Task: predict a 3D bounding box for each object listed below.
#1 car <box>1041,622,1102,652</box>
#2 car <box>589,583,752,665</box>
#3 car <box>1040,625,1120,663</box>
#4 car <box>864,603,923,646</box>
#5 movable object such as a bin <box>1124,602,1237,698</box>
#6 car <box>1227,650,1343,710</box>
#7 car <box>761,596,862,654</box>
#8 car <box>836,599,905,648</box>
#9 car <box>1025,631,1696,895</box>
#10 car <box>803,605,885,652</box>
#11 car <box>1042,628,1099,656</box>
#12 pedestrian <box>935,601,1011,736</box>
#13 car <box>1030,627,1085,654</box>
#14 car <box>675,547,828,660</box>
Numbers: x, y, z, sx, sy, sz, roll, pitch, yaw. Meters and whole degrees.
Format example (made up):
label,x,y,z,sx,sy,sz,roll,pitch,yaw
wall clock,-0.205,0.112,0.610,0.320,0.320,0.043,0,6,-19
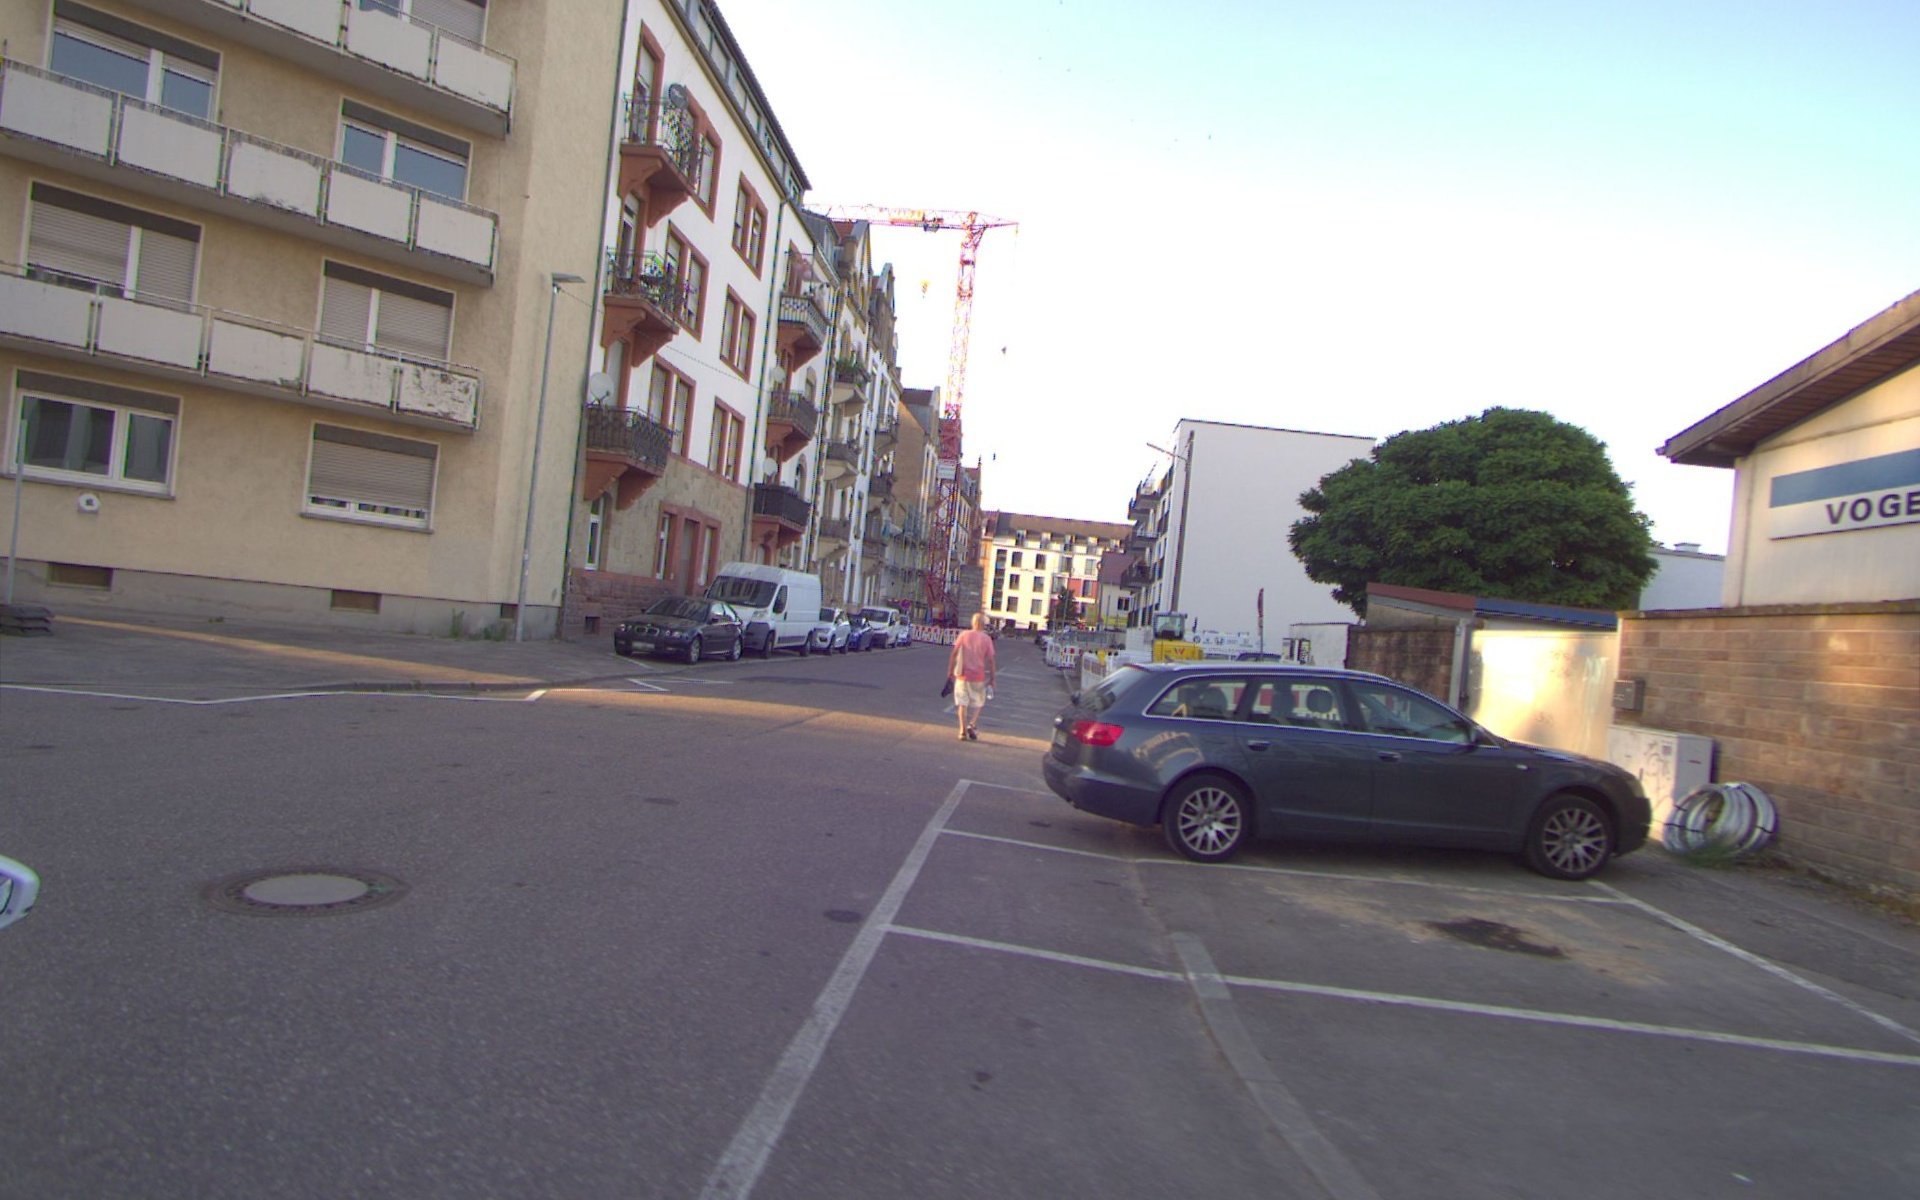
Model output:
label,x,y,z,sx,sy,sz,roll,pitch,yaw
car,9.942,3.328,89.595,4.974,2.096,2.002,6,-1,12
car,-6.244,0.554,22.228,1.962,1.387,4.003,8,-1,6
car,8.207,3.005,69.097,4.980,2.096,1.999,6,-1,-4
car,-3.447,1.306,52.948,2.162,1.886,4.611,8,-1,6
movable object such as a bin,7.455,1.684,33.518,2.625,2.692,5.201,6,-1,22
car,12.163,2.967,37.655,3.926,1.724,1.849,6,-1,21
car,-5.039,0.893,34.860,2.190,1.585,4.611,8,-1,6
car,-4.097,1.124,47.053,2.162,1.886,4.611,8,-1,6
car,3.002,1.225,8.161,4.642,1.550,1.831,5,-1,-4
car,-4.560,1.161,40.432,2.162,1.461,4.611,8,-1,6
car,10.368,3.957,94.347,4.974,2.096,2.002,6,-1,12
pedestrian,0.166,0.908,13.504,0.772,1.685,0.629,7,0,-4
car,9.523,3.940,97.753,4.974,2.096,2.002,6,-1,12
car,-5.668,0.180,28.396,2.190,2.560,6.041,8,-1,6
